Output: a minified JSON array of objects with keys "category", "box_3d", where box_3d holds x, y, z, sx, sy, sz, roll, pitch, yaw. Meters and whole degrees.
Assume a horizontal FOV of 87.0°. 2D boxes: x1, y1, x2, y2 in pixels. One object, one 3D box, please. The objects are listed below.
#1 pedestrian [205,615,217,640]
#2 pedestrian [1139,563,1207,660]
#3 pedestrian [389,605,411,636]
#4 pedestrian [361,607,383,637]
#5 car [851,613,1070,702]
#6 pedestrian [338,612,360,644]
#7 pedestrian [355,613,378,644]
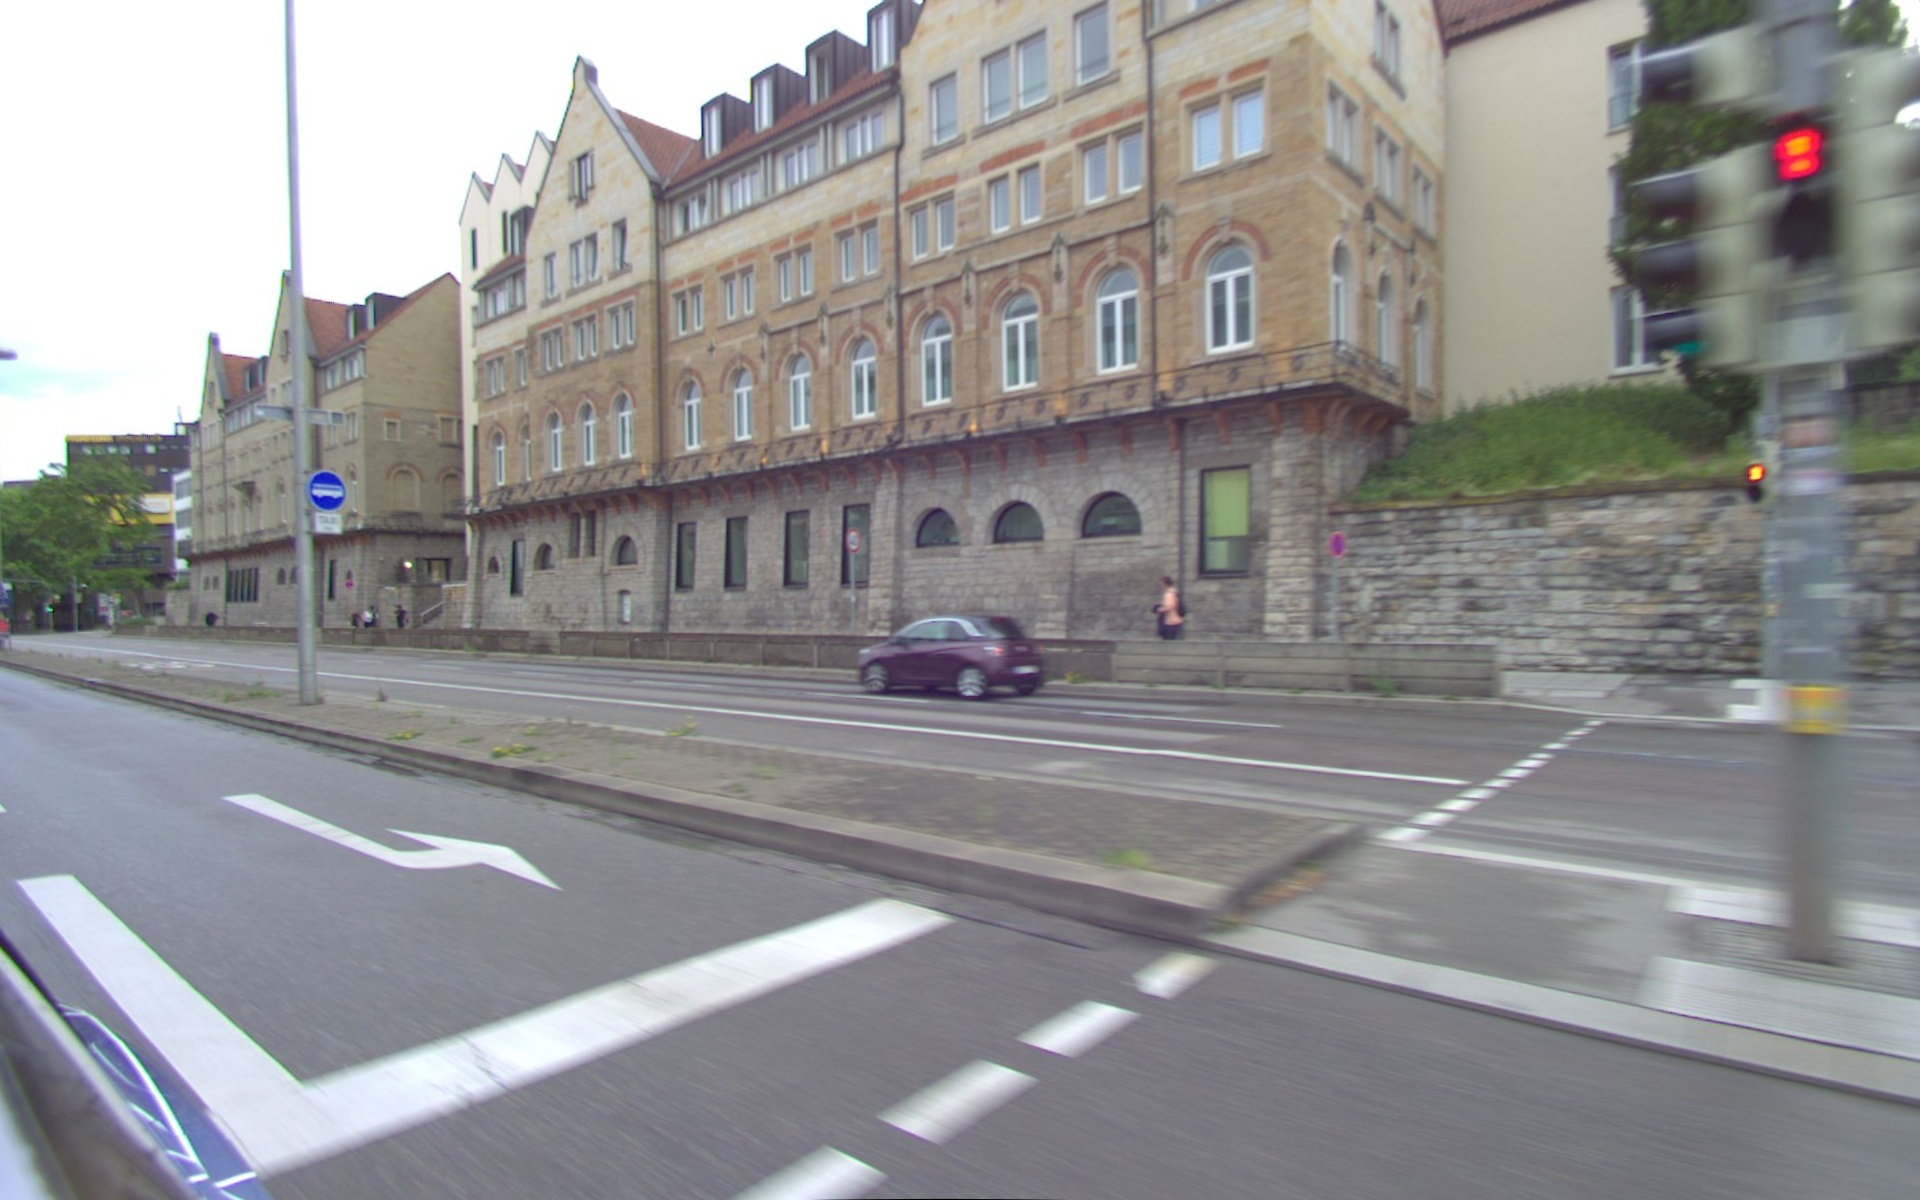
[{"category":"pedestrian","box_3d":[-53.334,1.986,72.074,0.633,1.759,0.621,0,-3,-44]},{"category":"pedestrian","box_3d":[4.277,0.239,20.393,0.868,1.881,1.064,-1,-2,-15]},{"category":"pedestrian","box_3d":[-27.999,1.019,50.613,0.713,1.489,0.746,-3,-3,40]},{"category":"pedestrian","box_3d":[-29.945,1.099,51.533,0.713,1.489,0.746,-3,-3,40]},{"category":"car","box_3d":[-0.054,0.993,18.209,3.722,1.418,1.730,-2,-2,40]},{"category":"pedestrian","box_3d":[-29.716,1.363,49.228,0.713,1.489,0.746,-3,-3,40]},{"category":"pedestrian","box_3d":[-29.217,1.401,49.818,0.713,1.489,0.746,-3,-3,40]}]
